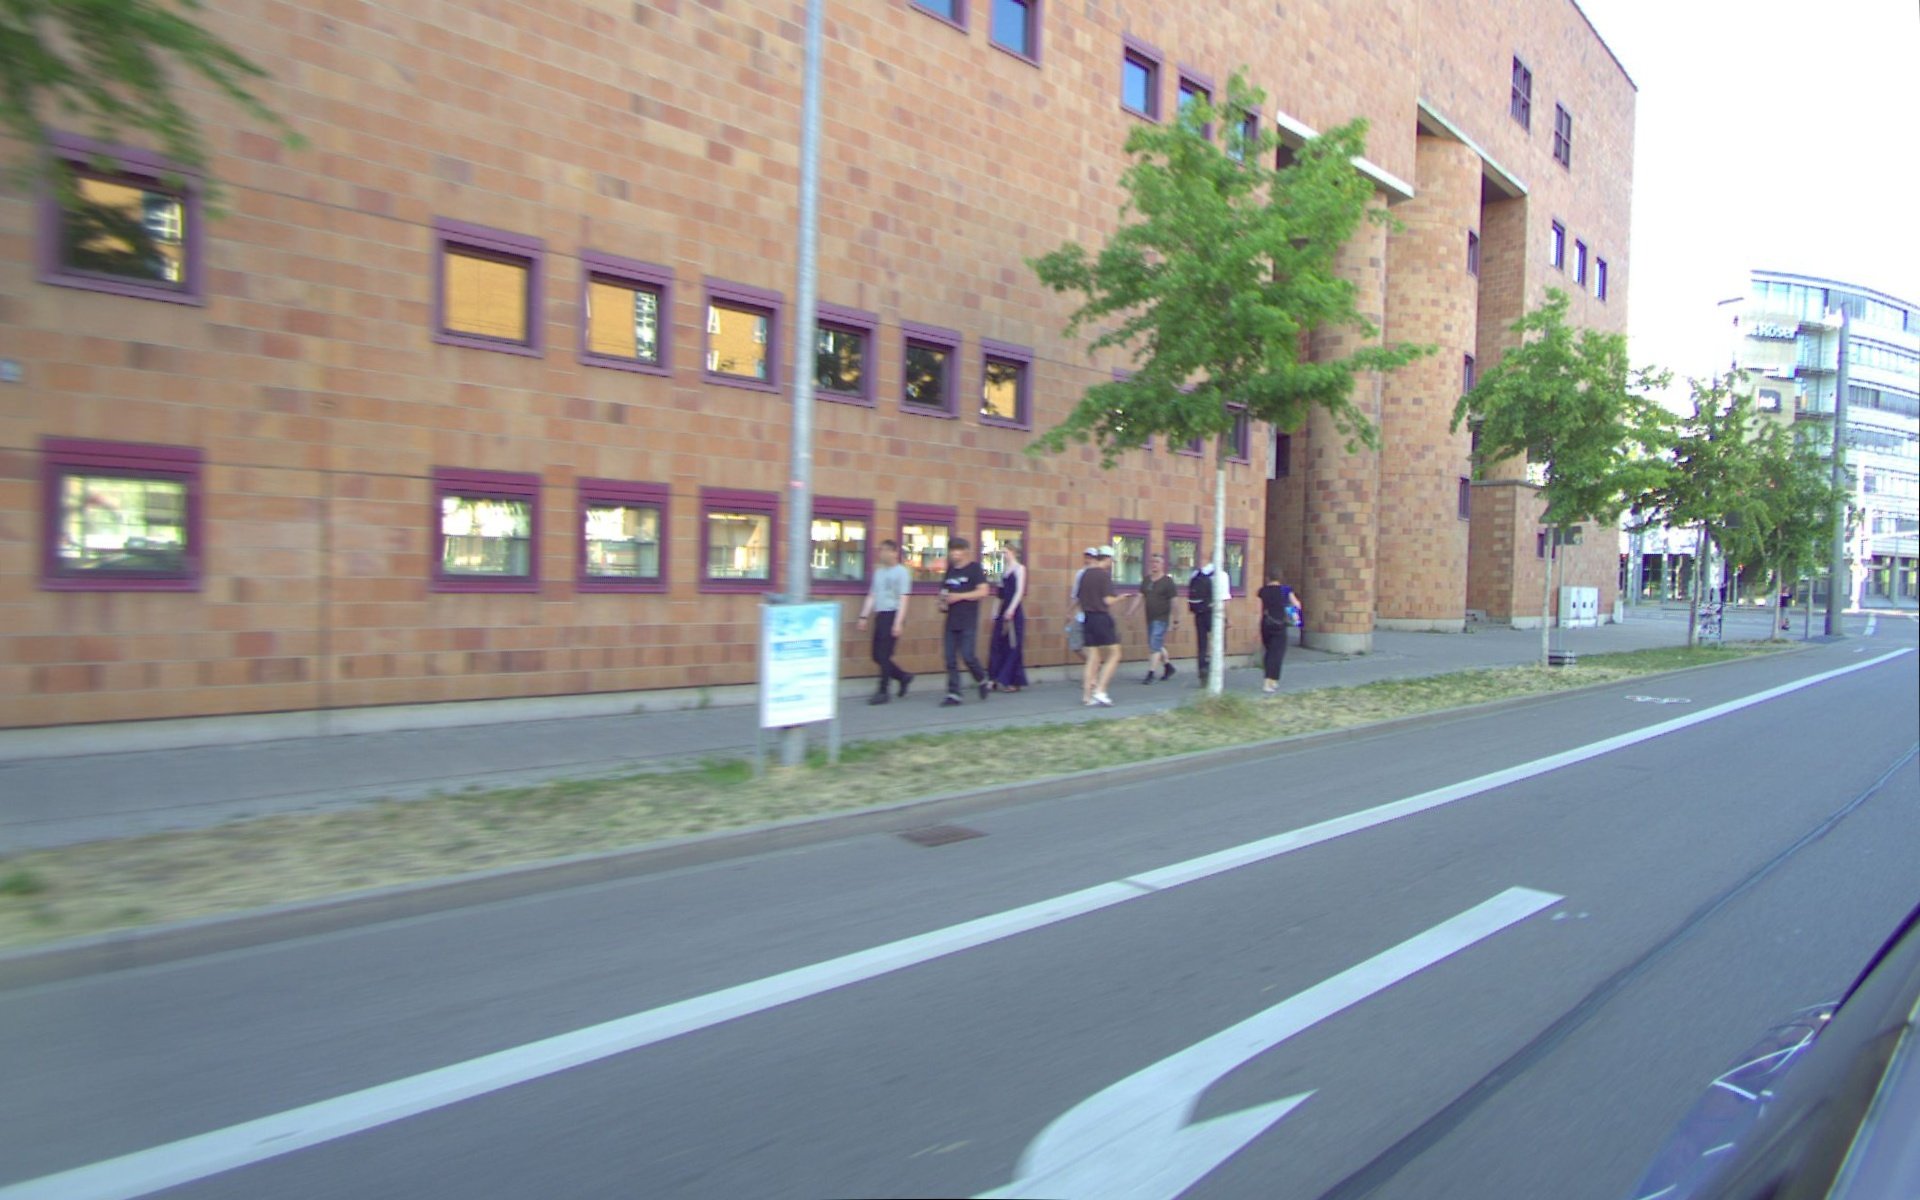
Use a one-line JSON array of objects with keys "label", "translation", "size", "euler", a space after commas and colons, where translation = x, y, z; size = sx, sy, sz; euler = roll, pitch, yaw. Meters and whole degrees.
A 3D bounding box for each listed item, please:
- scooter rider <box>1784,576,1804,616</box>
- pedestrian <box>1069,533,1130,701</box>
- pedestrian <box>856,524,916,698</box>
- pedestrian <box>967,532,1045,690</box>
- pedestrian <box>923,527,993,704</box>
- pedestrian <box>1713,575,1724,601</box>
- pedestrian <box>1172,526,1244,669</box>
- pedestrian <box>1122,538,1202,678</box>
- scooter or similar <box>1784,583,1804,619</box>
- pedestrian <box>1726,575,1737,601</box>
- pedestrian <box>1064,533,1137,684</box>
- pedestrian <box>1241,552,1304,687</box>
[{"label": "scooter rider", "translation": [31.607, -0.162, 38.345], "size": [0.506, 1.479, 0.711], "euler": [3, 2, 42]}, {"label": "pedestrian", "translation": [1.505, 0.175, 10.958], "size": [0.527, 1.778, 0.422], "euler": [1, 1, -5]}, {"label": "pedestrian", "translation": [-0.771, 0.102, 10.610], "size": [0.529, 1.778, 0.421], "euler": [1, 1, 7]}, {"label": "pedestrian", "translation": [0.533, 0.116, 11.775], "size": [0.681, 1.778, 0.539], "euler": [0, 2, -30]}, {"label": "pedestrian", "translation": [-0.019, 0.141, 10.525], "size": [0.535, 1.778, 0.459], "euler": [2, 2, 36]}, {"label": "pedestrian", "translation": [55.228, -0.898, 73.705], "size": [0.586, 1.846, 0.537], "euler": [2, 2, 37]}, {"label": "pedestrian", "translation": [3.120, -0.044, 12.741], "size": [0.628, 1.734, 0.573], "euler": [0, 2, -32]}, {"label": "pedestrian", "translation": [2.658, 0.082, 13.348], "size": [0.684, 1.778, 0.733], "euler": [0, 2, -43]}, {"label": "scooter or similar", "translation": [31.584, 0.016, 38.314], "size": [0.527, 1.334, 1.115], "euler": [3, 2, 41]}, {"label": "pedestrian", "translation": [55.856, -0.864, 73.253], "size": [0.544, 1.846, 0.369], "euler": [2, 2, 37]}, {"label": "pedestrian", "translation": [1.688, 0.098, 12.228], "size": [0.681, 1.778, 0.539], "euler": [1, 1, -13]}, {"label": "pedestrian", "translation": [3.921, 0.226, 12.690], "size": [0.515, 1.625, 0.695], "euler": [2, 2, 37]}]
